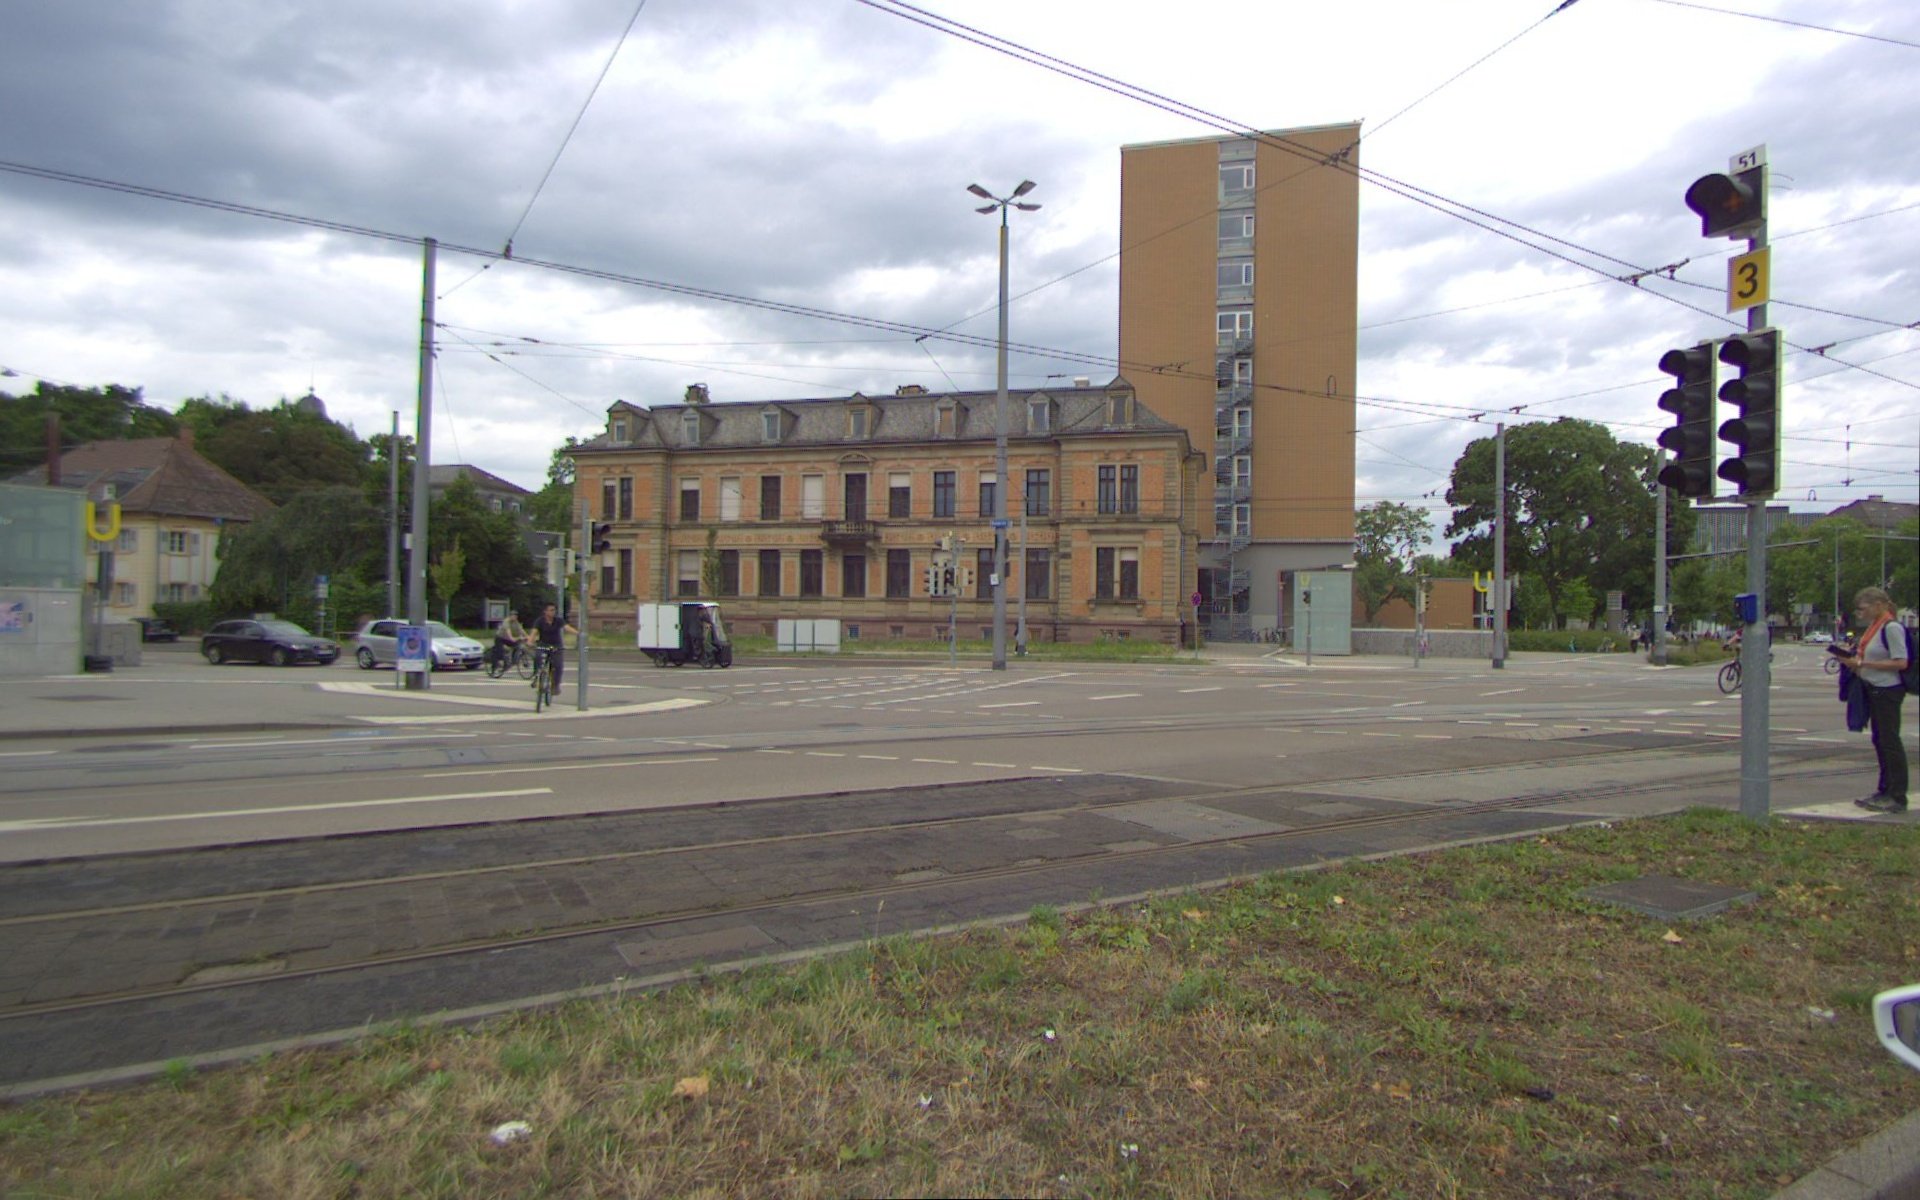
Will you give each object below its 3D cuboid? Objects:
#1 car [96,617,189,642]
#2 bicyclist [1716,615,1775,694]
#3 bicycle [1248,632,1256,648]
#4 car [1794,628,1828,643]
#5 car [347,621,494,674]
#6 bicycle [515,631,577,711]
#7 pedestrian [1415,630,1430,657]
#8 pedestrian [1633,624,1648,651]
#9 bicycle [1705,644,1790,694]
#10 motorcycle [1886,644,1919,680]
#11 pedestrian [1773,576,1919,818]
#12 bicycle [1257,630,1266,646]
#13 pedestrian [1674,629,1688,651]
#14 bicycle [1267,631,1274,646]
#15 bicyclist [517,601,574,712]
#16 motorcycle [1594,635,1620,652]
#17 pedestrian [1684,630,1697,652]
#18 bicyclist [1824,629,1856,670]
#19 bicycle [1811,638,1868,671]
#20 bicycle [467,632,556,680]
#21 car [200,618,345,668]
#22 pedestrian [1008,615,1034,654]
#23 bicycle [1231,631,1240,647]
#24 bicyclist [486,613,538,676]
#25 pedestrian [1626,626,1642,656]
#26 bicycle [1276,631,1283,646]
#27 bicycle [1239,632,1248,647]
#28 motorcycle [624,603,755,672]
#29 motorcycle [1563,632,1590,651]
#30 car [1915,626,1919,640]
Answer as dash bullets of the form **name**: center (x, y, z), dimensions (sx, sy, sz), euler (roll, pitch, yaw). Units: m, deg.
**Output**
- **car**: center (-45.039, 1.595, 55.360), dimensions (3.919, 1.305, 1.936), euler (1, -1, 12)
- **bicyclist**: center (19.749, 1.356, 25.254), dimensions (0.982, 1.923, 0.774), euler (1, -1, -21)
- **bicycle**: center (21.550, 2.926, 74.133), dimensions (0.561, 1.120, 1.428), euler (1, -1, 18)
- **car**: center (104.877, 4.392, 123.835), dimensions (1.682, 1.795, 4.001), euler (1, -1, 17)
- **car**: center (-16.252, 1.382, 30.262), dimensions (4.081, 1.473, 1.761), euler (0, -1, 23)
- **bicycle**: center (-7.063, 1.169, 17.091), dimensions (0.805, 1.259, 1.986), euler (0, -2, -27)
- **pedestrian**: center (23.200, 2.185, 50.378), dimensions (0.562, 1.353, 0.499), euler (1, -1, 10)
- **pedestrian**: center (51.247, 2.821, 75.649), dimensions (0.781, 2.007, 0.880), euler (1, -2, 26)
- **bicycle**: center (19.795, 1.724, 25.260), dimensions (2.002, 1.200, 0.773), euler (1, -1, -21)
- **motorcycle**: center (32.325, 2.070, 33.399), dimensions (2.102, 1.154, 0.743), euler (0, -1, 28)
- **pedestrian**: center (7.690, 0.786, 8.458), dimensions (1.082, 1.932, 0.736), euler (1, 0, 18)
- **bicycle**: center (22.194, 2.802, 73.966), dimensions (0.561, 1.120, 1.428), euler (1, -1, 18)
- **pedestrian**: center (67.788, 3.738, 94.388), dimensions (0.789, 2.007, 0.871), euler (3, -2, -38)
- **bicycle**: center (22.818, 2.811, 73.767), dimensions (0.500, 1.063, 1.428), euler (1, -1, 18)
- **bicyclist**: center (-7.093, 0.939, 17.161), dimensions (0.805, 1.822, 1.022), euler (0, 0, -28)
- **motorcycle**: center (43.680, 2.946, 67.838), dimensions (1.716, 1.126, 0.510), euler (1, -1, -17)
- **pedestrian**: center (67.825, 3.816, 93.216), dimensions (0.868, 2.007, 0.792), euler (0, -2, 42)
- **bicyclist**: center (37.372, 2.108, 42.657), dimensions (0.840, 1.695, 0.654), euler (1, -1, 18)
- **bicycle**: center (37.342, 2.293, 42.662), dimensions (1.701, 1.339, 0.645), euler (0, -1, 18)
- **bicycle**: center (-11.874, 1.466, 26.601), dimensions (2.154, 1.224, 0.857), euler (0, -2, 20)
- **car**: center (-22.050, 1.353, 32.233), dimensions (4.061, 1.468, 1.697), euler (1, -1, 18)
- **pedestrian**: center (2.826, 1.607, 46.650), dimensions (1.104, 1.786, 0.759), euler (1, -1, 8)
- **bicycle**: center (20.424, 2.906, 74.476), dimensions (0.561, 1.120, 1.428), euler (1, -1, 18)
- **bicyclist**: center (-11.863, 1.166, 26.609), dimensions (0.899, 1.644, 0.855), euler (0, -1, 20)
- **pedestrian**: center (45.960, 2.782, 68.482), dimensions (0.781, 2.007, 0.880), euler (1, -2, 26)
- **bicycle**: center (23.392, 2.797, 73.644), dimensions (0.472, 1.063, 1.428), euler (1, -1, 18)
- **bicycle**: center (20.988, 2.908, 74.303), dimensions (0.561, 1.120, 1.428), euler (1, -1, 18)
- **motorcycle**: center (-8.493, 1.134, 31.558), dimensions (3.614, 2.040, 1.696), euler (1, -1, 19)
- **motorcycle**: center (41.577, 2.804, 67.712), dimensions (1.443, 1.285, 0.512), euler (1, -1, 14)
- **car**: center (101.899, 3.442, 104.087), dimensions (1.758, 1.483, 3.975), euler (1, -1, -25)
